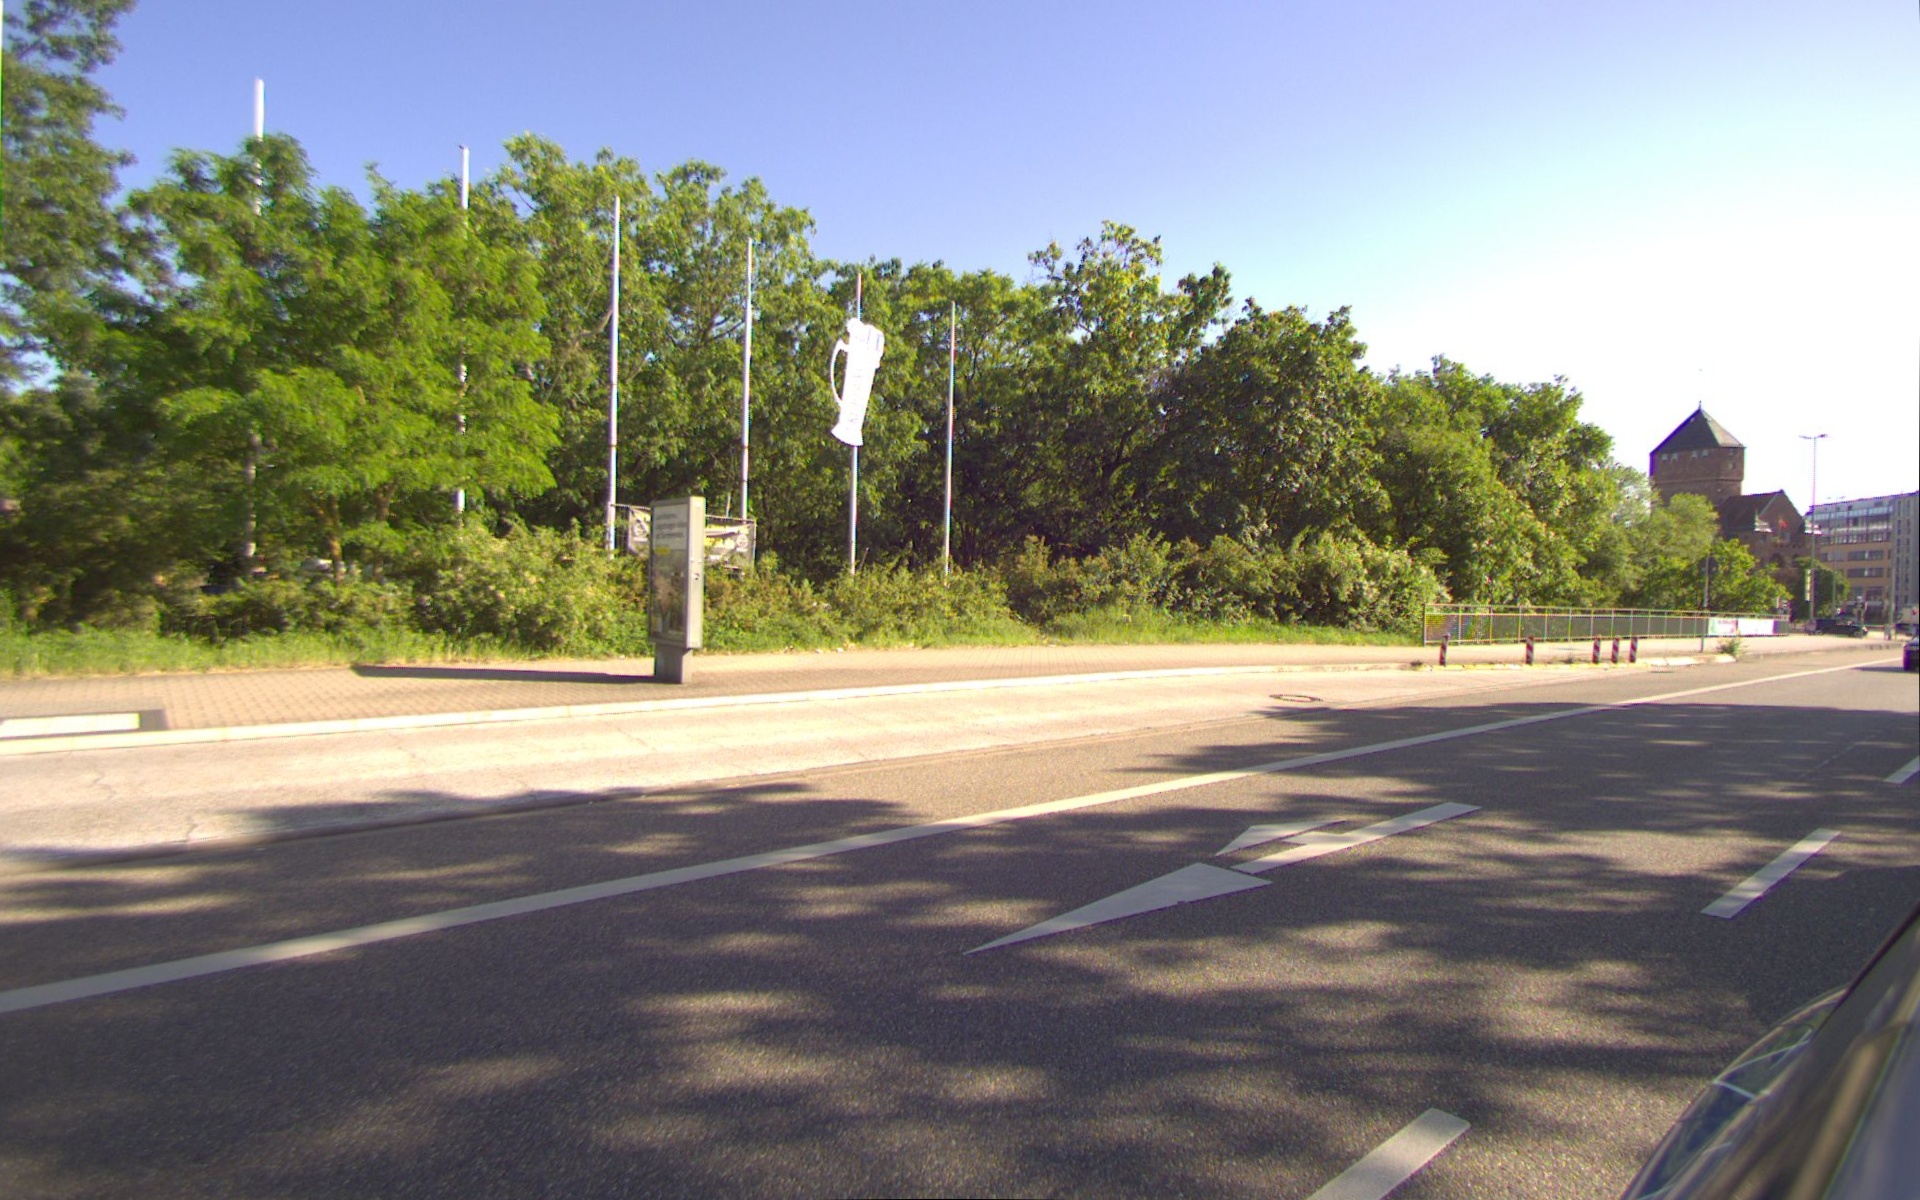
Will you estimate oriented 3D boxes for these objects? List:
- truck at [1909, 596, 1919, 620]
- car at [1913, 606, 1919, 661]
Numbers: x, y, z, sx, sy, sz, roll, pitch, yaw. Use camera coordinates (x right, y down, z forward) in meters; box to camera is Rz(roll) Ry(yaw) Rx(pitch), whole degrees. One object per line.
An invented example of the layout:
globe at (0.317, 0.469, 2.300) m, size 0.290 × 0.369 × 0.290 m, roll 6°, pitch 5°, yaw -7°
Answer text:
truck at (134.271, 1.208, 137.476) m, size 3.475 × 3.291 × 9.130 m, roll 1°, pitch 1°, yaw 13°
car at (27.138, 0.907, 27.203) m, size 4.242 × 1.420 × 1.775 m, roll 0°, pitch 1°, yaw -41°
